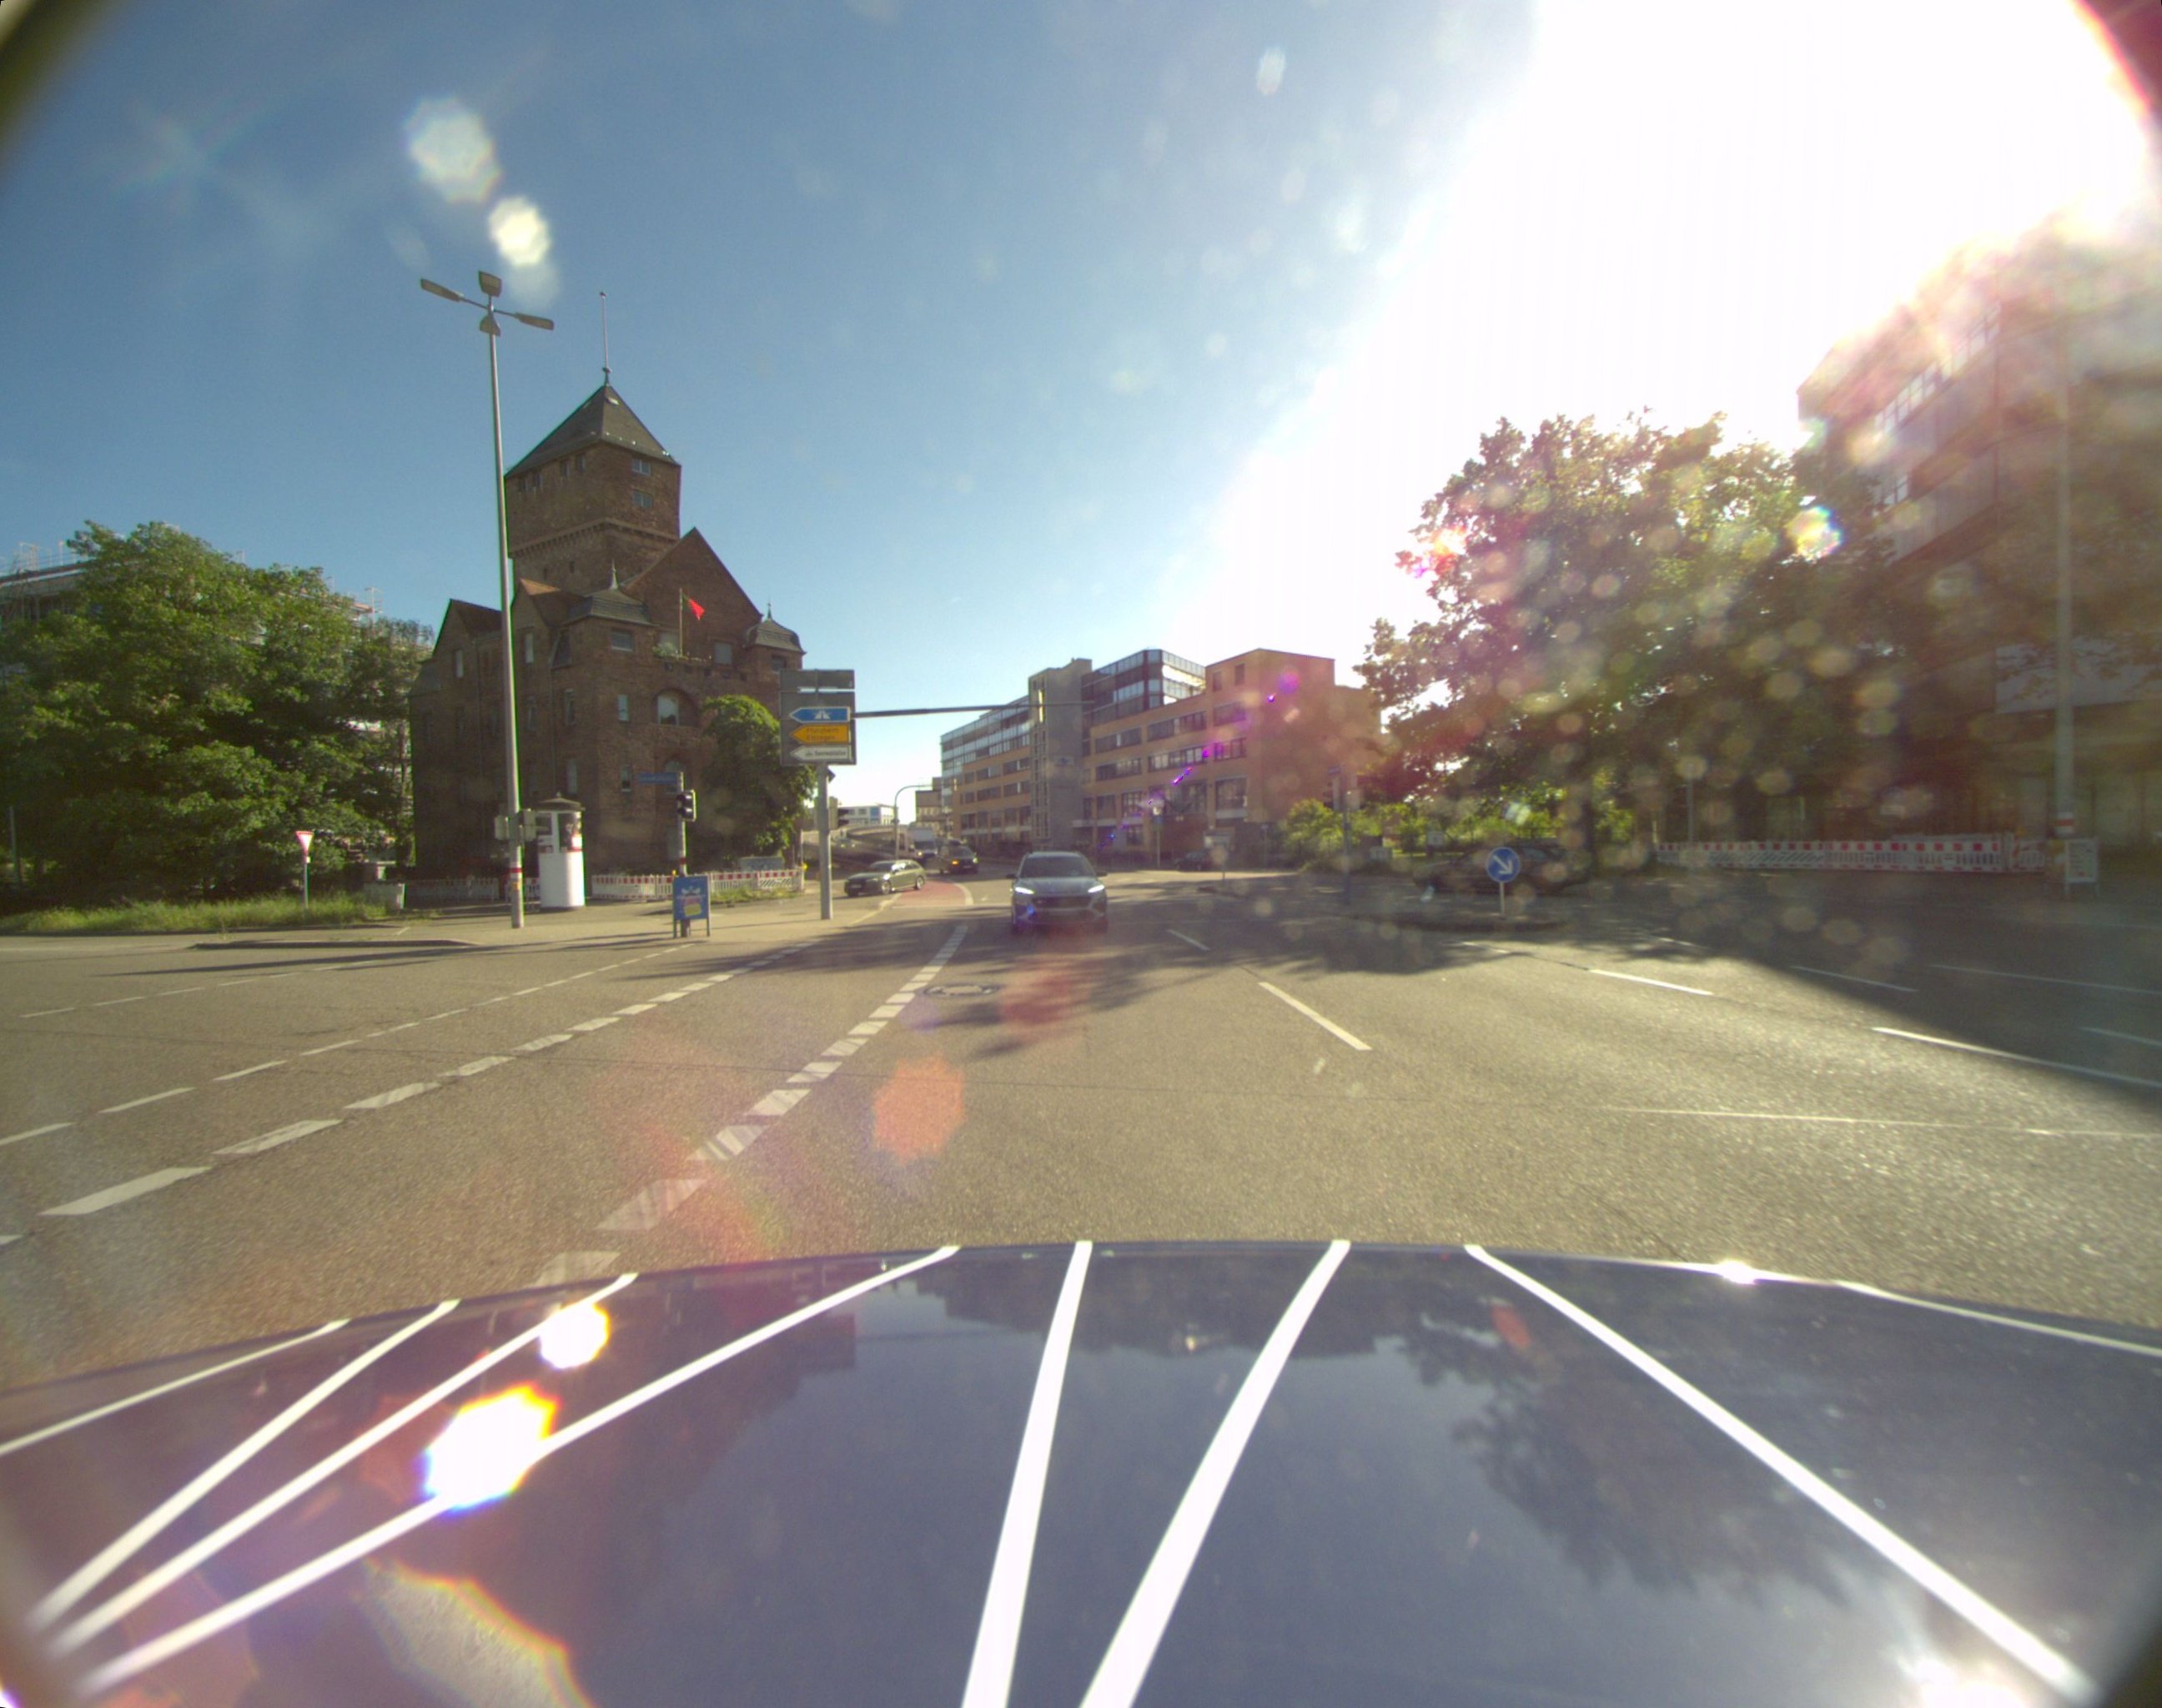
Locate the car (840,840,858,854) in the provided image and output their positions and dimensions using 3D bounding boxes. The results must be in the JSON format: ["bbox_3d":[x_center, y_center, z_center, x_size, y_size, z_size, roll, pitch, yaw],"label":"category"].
[{"bbox_3d":[-28.995,-0.871,94.939,1.759,1.749,4.776,-2,1,-22],"label":"car"}]

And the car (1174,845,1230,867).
[{"bbox_3d":[8.388,0.180,53.073,1.662,1.500,4.370,0,-1,-25],"label":"car"}]

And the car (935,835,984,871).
[{"bbox_3d":[-8.076,-0.080,50.107,1.954,2.248,4.775,-2,1,-24],"label":"car"}]

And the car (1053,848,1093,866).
[{"bbox_3d":[-0.757,0.283,69.800,1.641,1.515,4.150,-2,1,-32],"label":"car"}]

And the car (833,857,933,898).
[{"bbox_3d":[-8.685,1.000,33.811,1.876,1.462,4.642,-3,0,21],"label":"car"}]

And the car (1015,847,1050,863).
[{"bbox_3d":[-5.015,0.079,77.345,1.883,1.515,4.151,-2,1,-30],"label":"car"}]

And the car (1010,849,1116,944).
[{"bbox_3d":[-0.485,0.754,15.754,1.879,1.612,4.194,-1,1,-5],"label":"car"}]

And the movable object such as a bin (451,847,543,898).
[{"bbox_3d":[-29.028,0.900,37.788,3.990,2.396,2.003,-1,1,27],"label":"movable object such as a bin"}]

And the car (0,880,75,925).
[{"bbox_3d":[-41.236,1.860,28.739,2.001,1.552,3.775,-2,1,-18],"label":"car"}]

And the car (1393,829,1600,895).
[{"bbox_3d":[11.569,0.195,21.530,1.955,1.612,4.773,-2,1,-33],"label":"car"}]

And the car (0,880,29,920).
[{"bbox_3d":[-44.230,1.908,29.540,2.001,1.552,3.775,-2,1,-18],"label":"car"}]

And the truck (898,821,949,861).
[{"bbox_3d":[-13.171,-1.056,63.036,2.507,3.110,6.944,-2,1,-25],"label":"truck"}]
